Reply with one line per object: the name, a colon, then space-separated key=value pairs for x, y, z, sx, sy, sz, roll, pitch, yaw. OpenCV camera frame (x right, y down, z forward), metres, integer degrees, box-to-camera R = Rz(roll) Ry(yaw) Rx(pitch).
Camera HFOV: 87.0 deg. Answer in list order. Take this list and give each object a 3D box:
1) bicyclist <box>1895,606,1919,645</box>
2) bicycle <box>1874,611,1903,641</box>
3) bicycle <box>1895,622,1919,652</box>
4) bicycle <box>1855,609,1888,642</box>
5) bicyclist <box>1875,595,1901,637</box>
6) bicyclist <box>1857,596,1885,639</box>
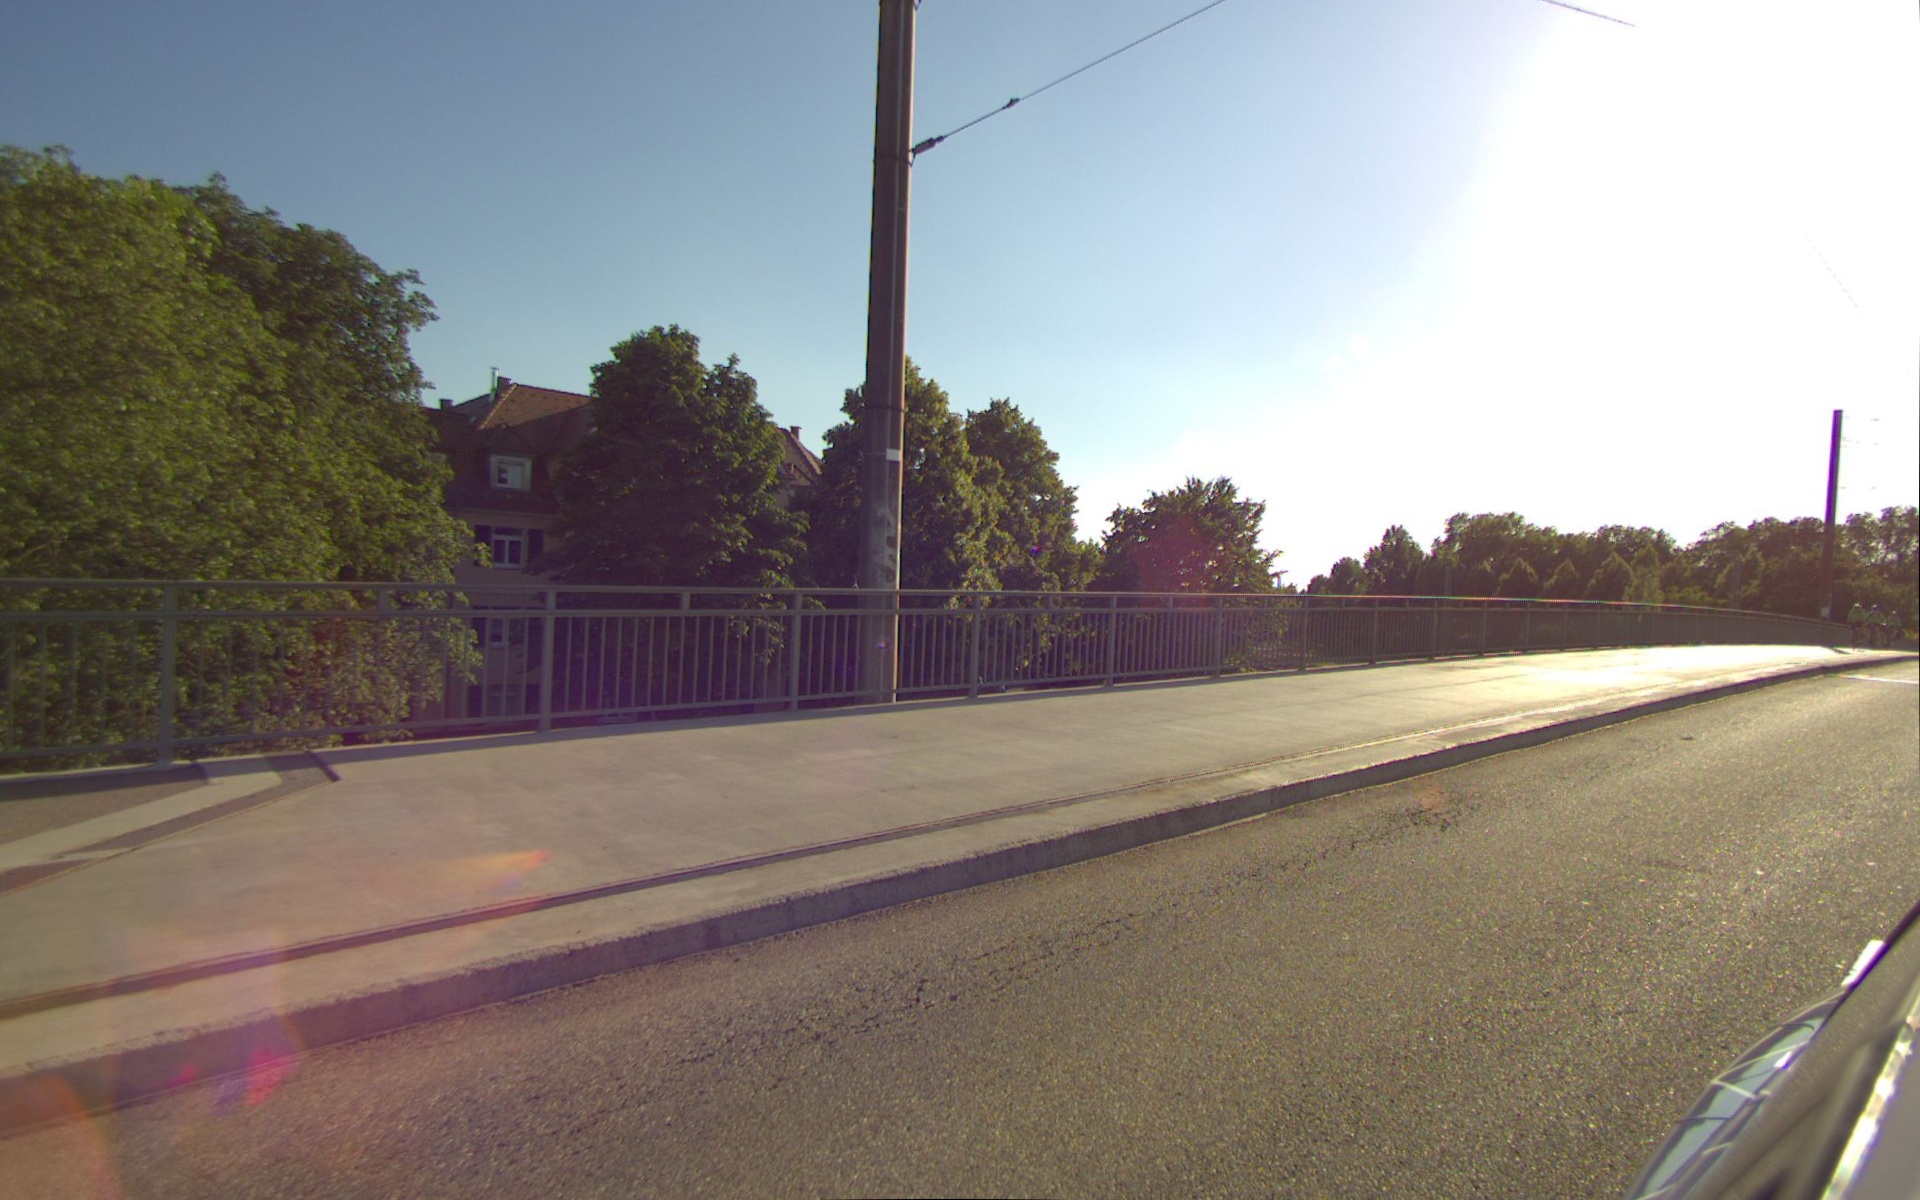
bicyclist: x=39.495 y=1.058 z=42.050 sx=0.881 sy=1.582 sz=0.813 roll=4 pitch=-2 yaw=-41
bicycle: x=36.198 y=1.022 z=39.435 sx=2.006 sy=1.137 sz=0.626 roll=2 pitch=-1 yaw=-41
bicycle: x=39.453 y=1.540 z=42.032 sx=2.177 sy=1.137 sz=0.684 roll=4 pitch=-2 yaw=-41
bicycle: x=33.104 y=0.921 z=36.760 sx=2.220 sy=1.137 sz=0.626 roll=3 pitch=-1 yaw=-41
bicyclist: x=36.174 y=0.615 z=39.458 sx=0.914 sy=1.613 sz=0.626 roll=2 pitch=-1 yaw=-41
bicyclist: x=33.076 y=0.650 z=36.747 sx=0.988 sy=1.527 sz=0.626 roll=3 pitch=-1 yaw=-41
